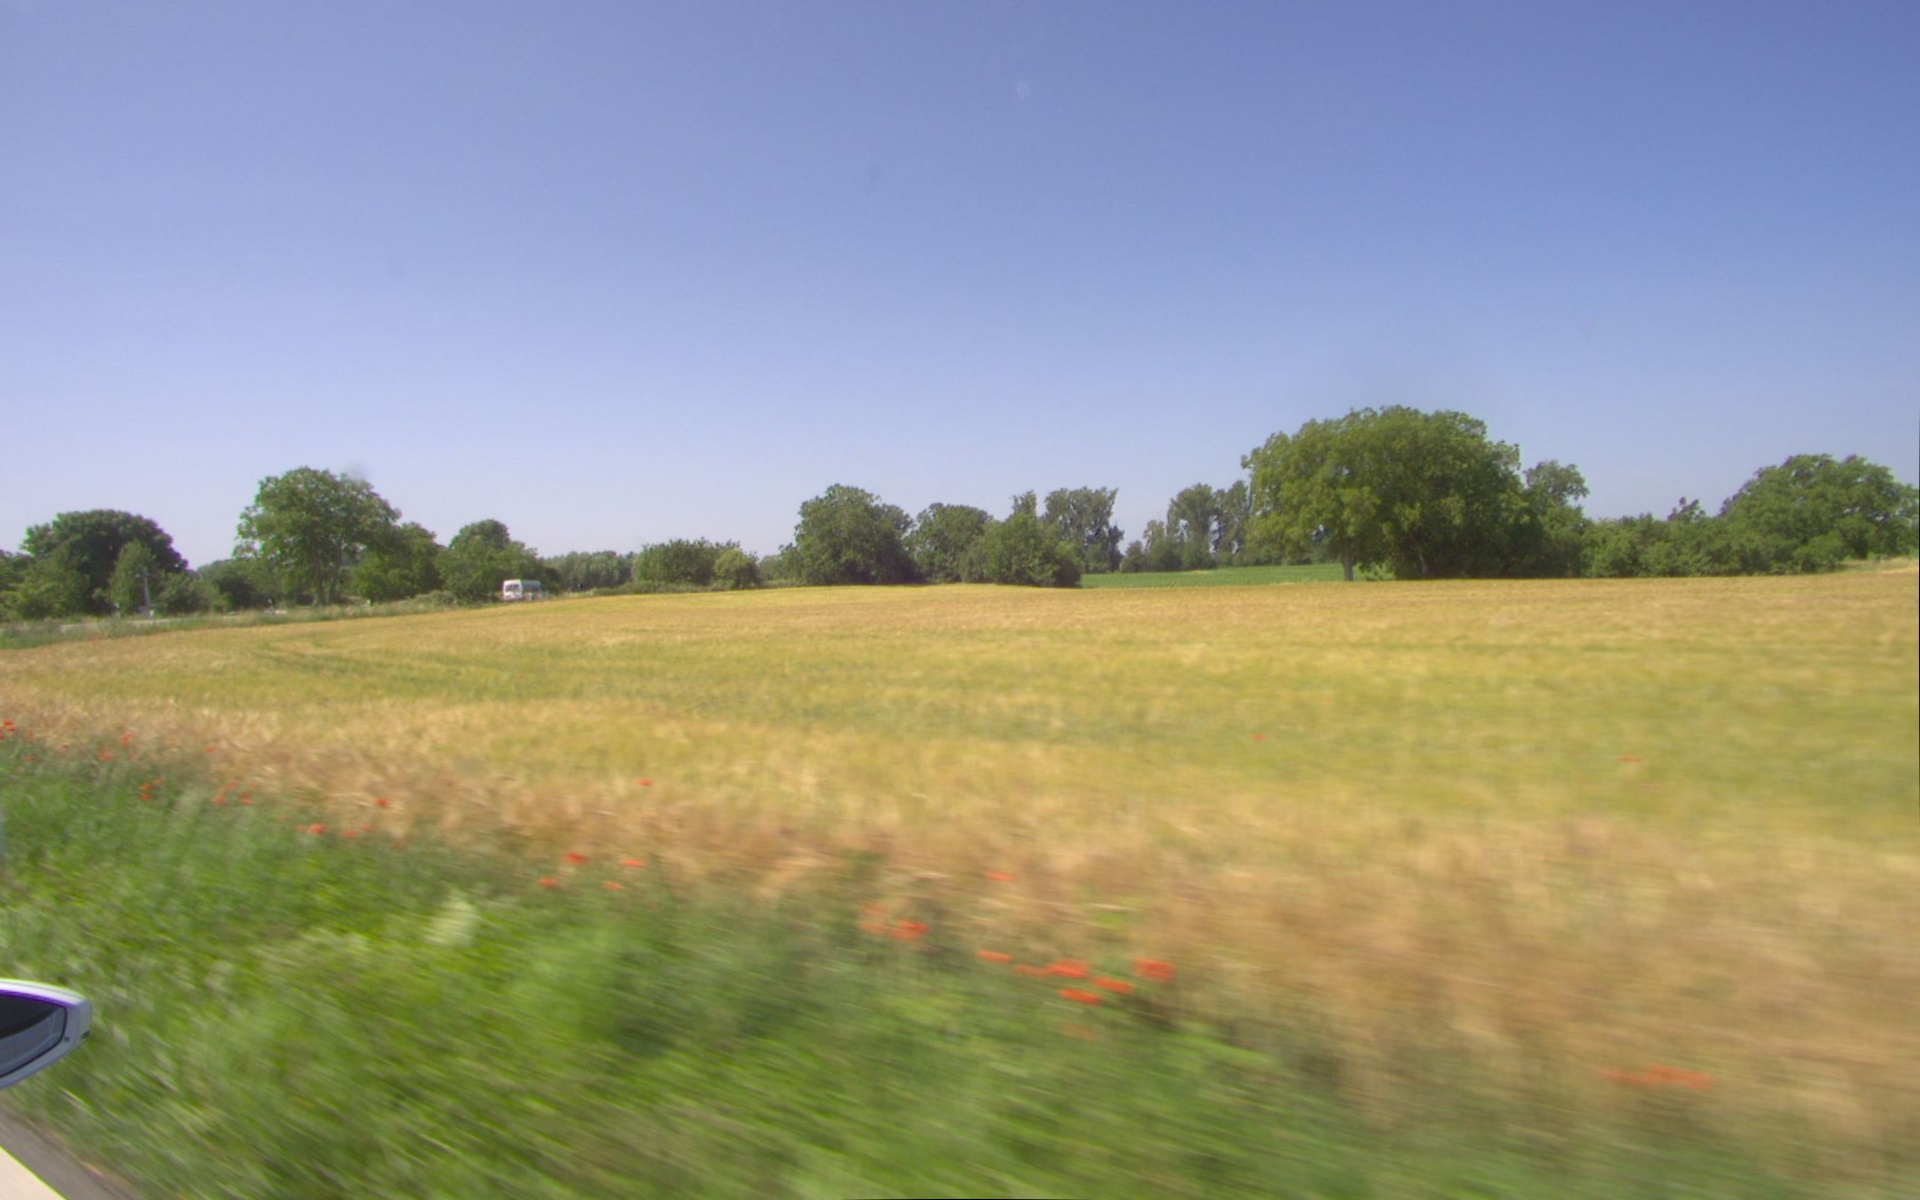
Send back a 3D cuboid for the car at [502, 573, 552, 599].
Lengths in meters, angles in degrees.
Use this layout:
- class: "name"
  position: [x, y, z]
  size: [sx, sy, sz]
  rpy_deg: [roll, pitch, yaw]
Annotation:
- class: "car"
  position: [-43.845, -1.438, 101.541]
  size: [2.070, 2.399, 5.682]
  rpy_deg: [-2, 2, 4]
